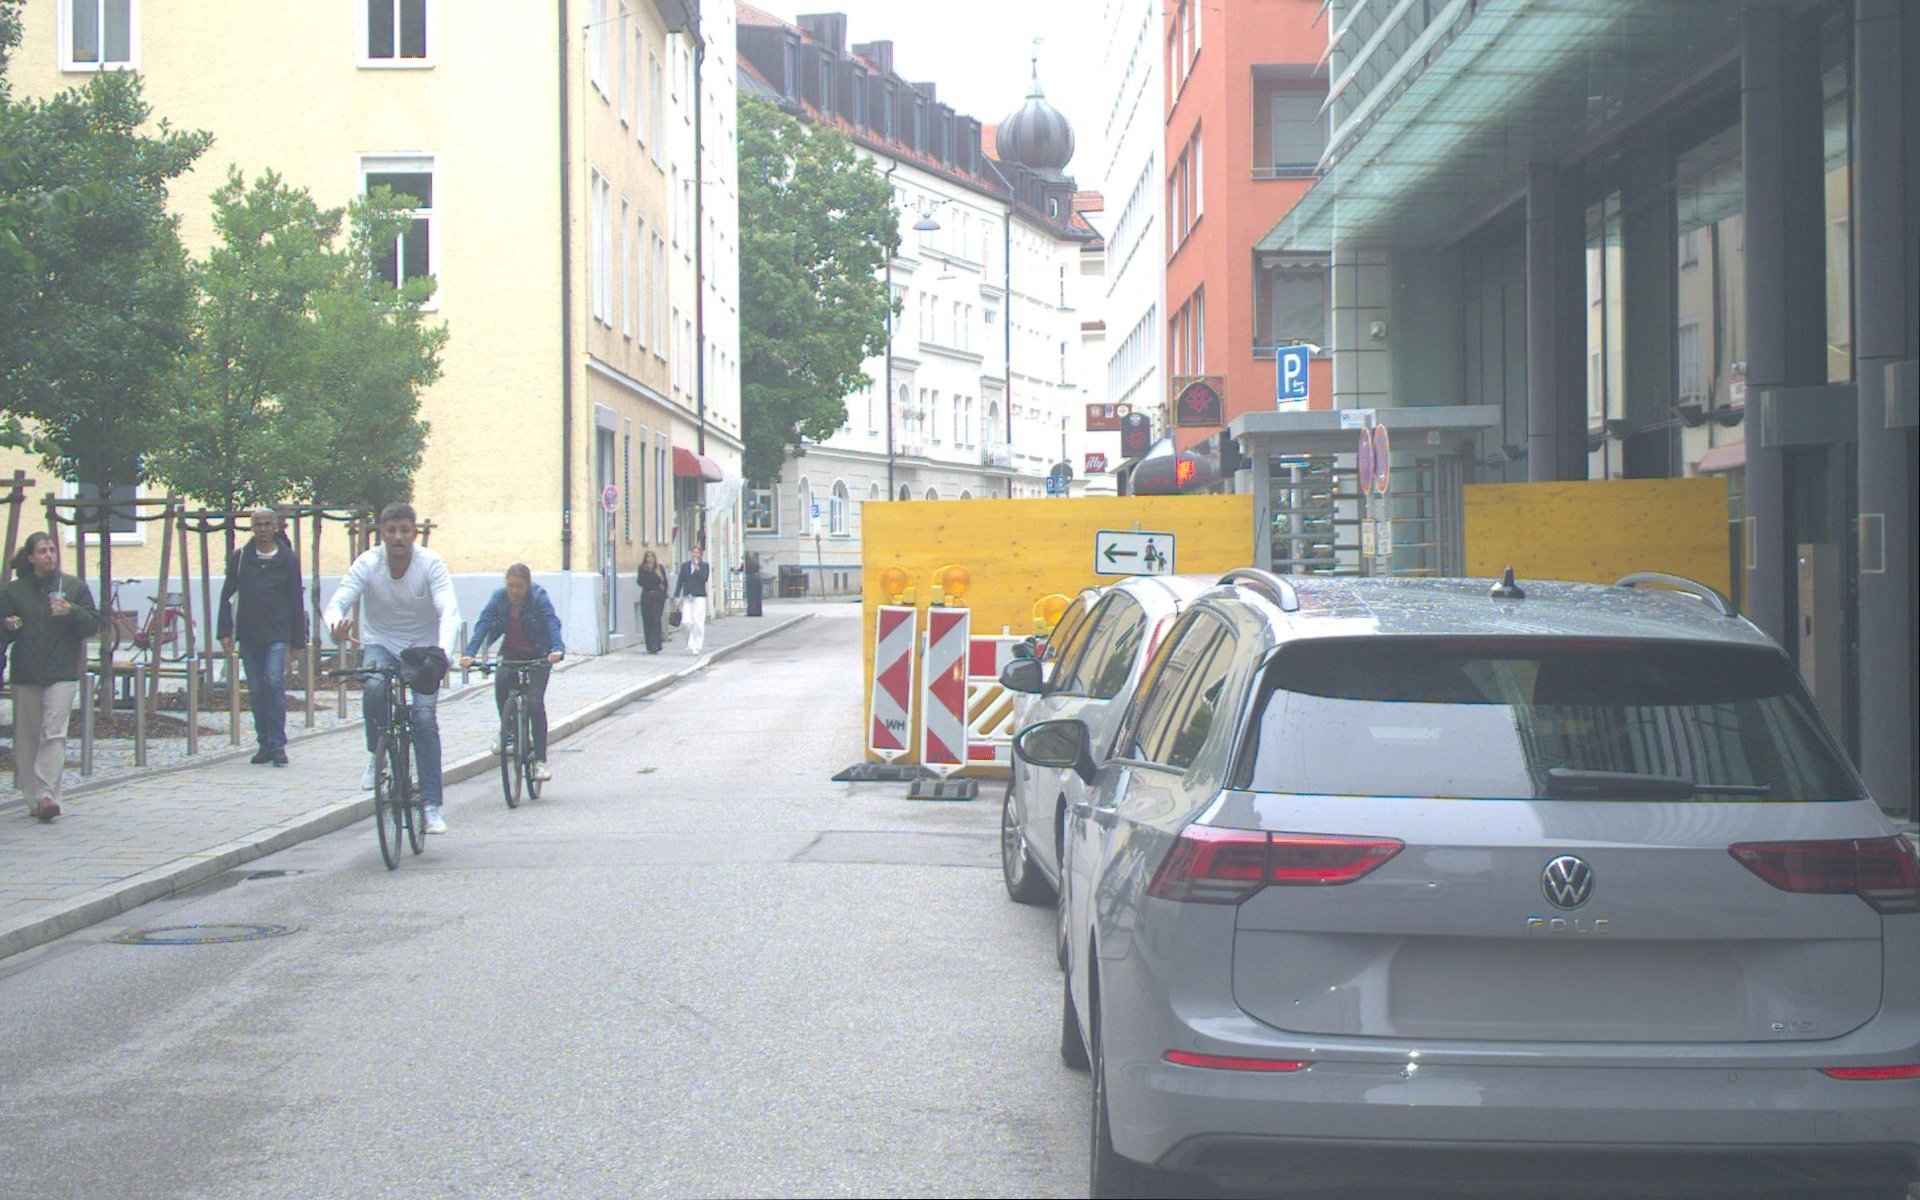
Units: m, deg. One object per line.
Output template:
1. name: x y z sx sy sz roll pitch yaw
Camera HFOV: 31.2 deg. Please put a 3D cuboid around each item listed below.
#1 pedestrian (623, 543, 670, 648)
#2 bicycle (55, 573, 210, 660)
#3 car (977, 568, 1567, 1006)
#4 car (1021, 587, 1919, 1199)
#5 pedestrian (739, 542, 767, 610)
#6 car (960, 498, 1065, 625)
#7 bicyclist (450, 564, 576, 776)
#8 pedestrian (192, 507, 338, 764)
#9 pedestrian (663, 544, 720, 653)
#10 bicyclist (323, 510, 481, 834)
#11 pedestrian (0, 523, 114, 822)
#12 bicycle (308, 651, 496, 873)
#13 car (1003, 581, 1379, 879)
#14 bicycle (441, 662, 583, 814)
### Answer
1. pedestrian: -4.950 -0.076 54.244 0.670 1.642 0.761 0 0 -1
2. bicycle: -11.556 0.226 48.020 2.044 1.193 0.570 0 1 7
3. car: 1.074 0.624 13.805 1.707 1.462 4.238 1 0 -4
4. car: 1.076 0.698 8.511 1.708 1.427 4.329 0 1 -1
5. pedestrian: -5.053 -0.589 83.847 0.634 1.669 0.517 0 1 0
6. car: 1.044 -0.797 71.083 1.993 2.528 4.975 0 1 -1
7. bicyclist: -2.949 0.453 22.736 0.707 1.366 0.813 -1 0 0
8. pedestrian: -5.183 0.253 25.691 0.867 1.875 1.135 0 0 -1
9. pedestrian: -4.203 -0.032 53.871 0.839 1.695 0.803 0 0 -1
10. bicyclist: -2.900 0.359 17.916 0.659 1.637 0.895 -1 0 -1
11. pedestrian: -5.238 0.402 19.610 0.647 1.671 0.724 0 0 -1
12. bicycle: -2.892 0.815 17.979 0.661 1.035 2.005 -1 1 -1
13. car: 1.150 0.620 18.965 1.708 1.409 4.510 1 0 0
14. bicycle: -2.945 0.890 22.748 0.707 0.902 1.809 -1 1 -1
